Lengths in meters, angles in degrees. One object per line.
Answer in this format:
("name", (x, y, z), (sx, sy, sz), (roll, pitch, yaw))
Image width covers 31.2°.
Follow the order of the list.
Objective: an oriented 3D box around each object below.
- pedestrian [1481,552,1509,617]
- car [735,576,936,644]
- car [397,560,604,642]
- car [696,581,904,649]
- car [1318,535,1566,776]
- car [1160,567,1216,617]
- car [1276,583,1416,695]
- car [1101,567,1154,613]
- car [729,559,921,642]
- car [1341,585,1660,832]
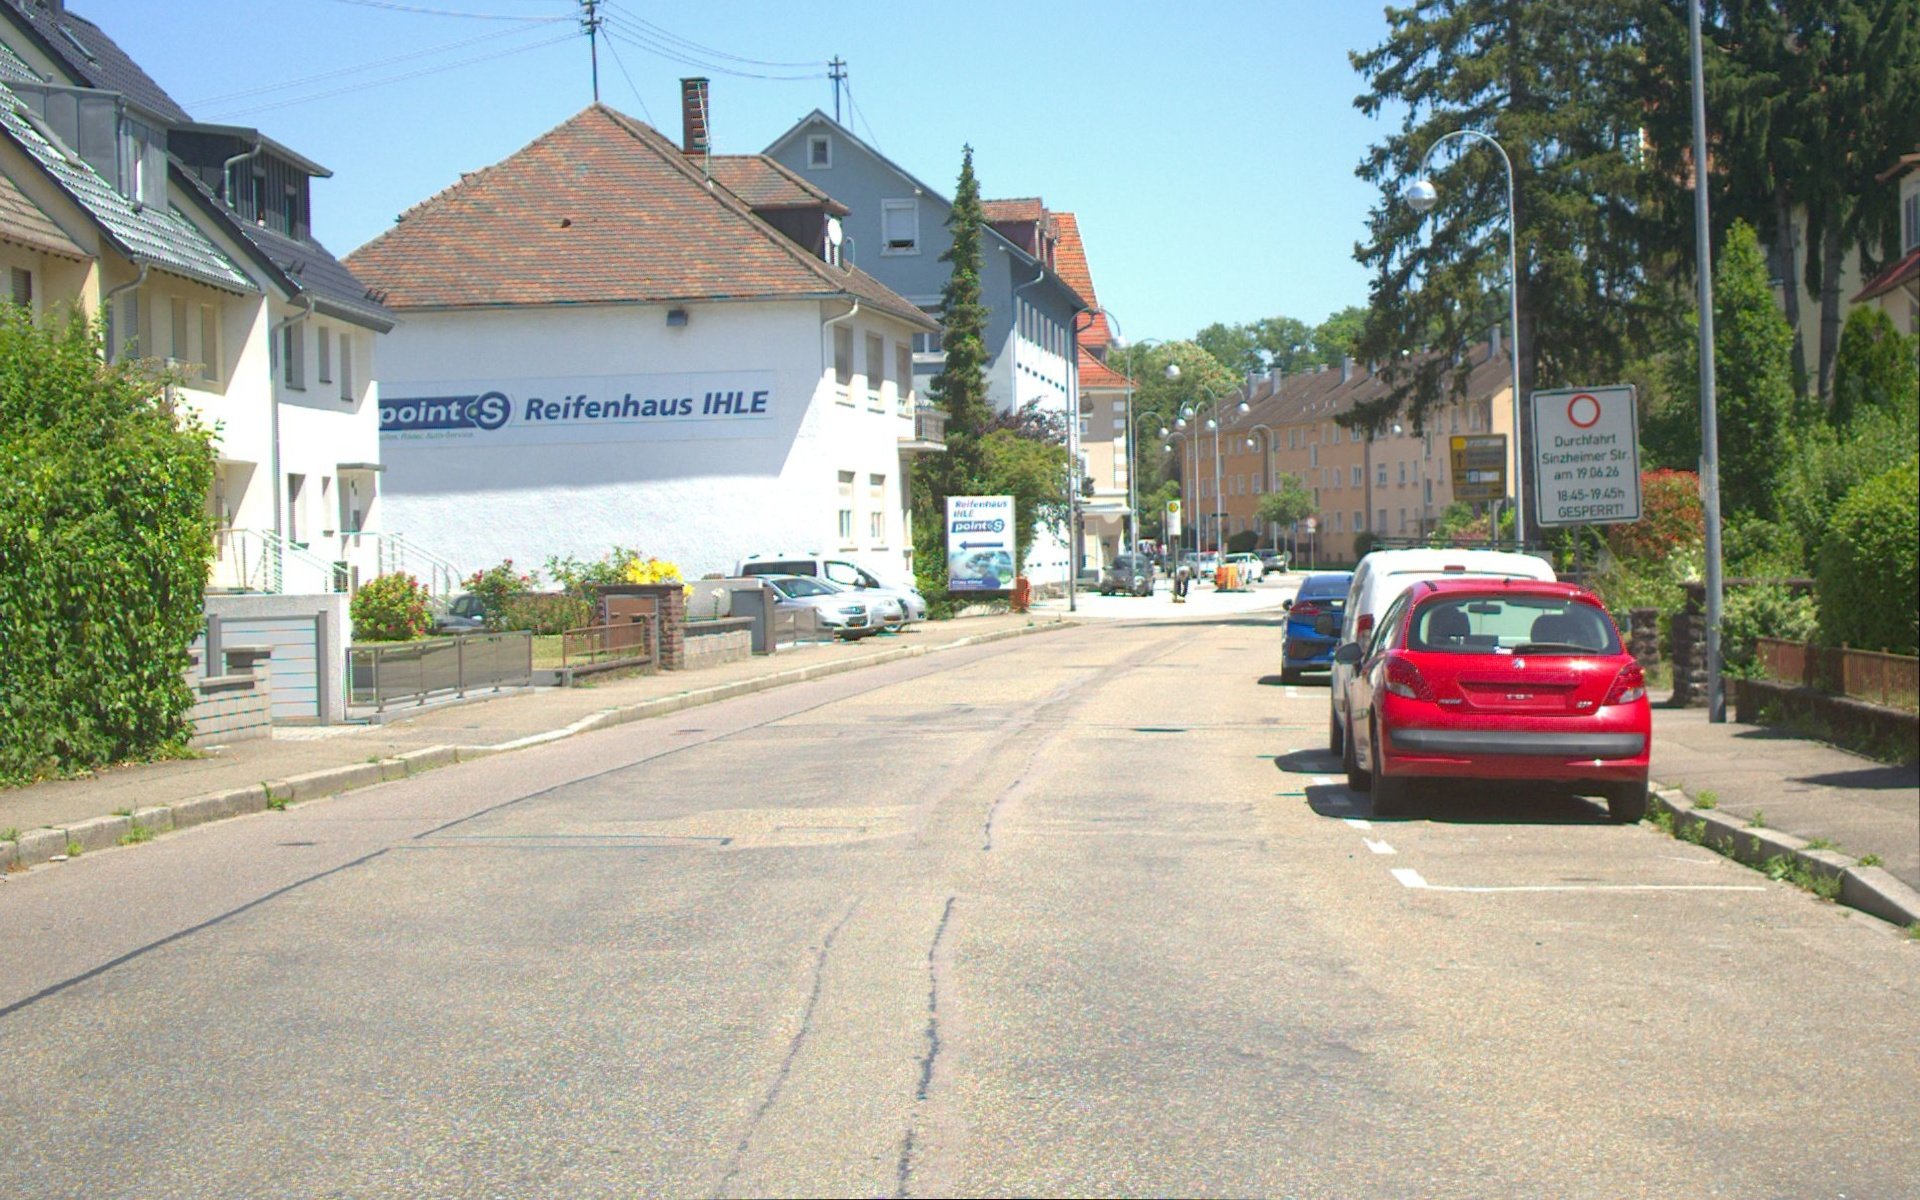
("pedestrian", (14.526, -0.420, 93.319), (0.689, 1.764, 0.691), (0, -1, 13))
("car", (-2.684, 0.216, 74.665), (4.129, 1.389, 1.828), (-1, 1, 6))
("car", (-8.893, -0.003, 66.388), (3.997, 1.505, 1.796), (1, 2, 42))
("car", (-3.360, 0.307, 71.688), (4.138, 1.339, 1.907), (0, 1, 40))
("car", (3.794, 0.424, 27.590), (1.664, 1.749, 3.999), (1, 0, 4))
("car", (7.873, -0.282, 118.270), (1.757, 1.650, 3.999), (-1, 1, 6))
("car", (5.234, 0.494, 46.615), (1.778, 1.401, 4.285), (1, 1, 6))
("car", (6.201, -0.377, 126.923), (1.757, 1.650, 3.999), (0, 0, 6))
("car", (-3.004, -0.005, 77.096), (4.129, 1.768, 1.828), (-1, 1, 3))
("car", (3.458, 0.639, 22.580), (1.664, 1.450, 4.000), (1, 0, 3))
